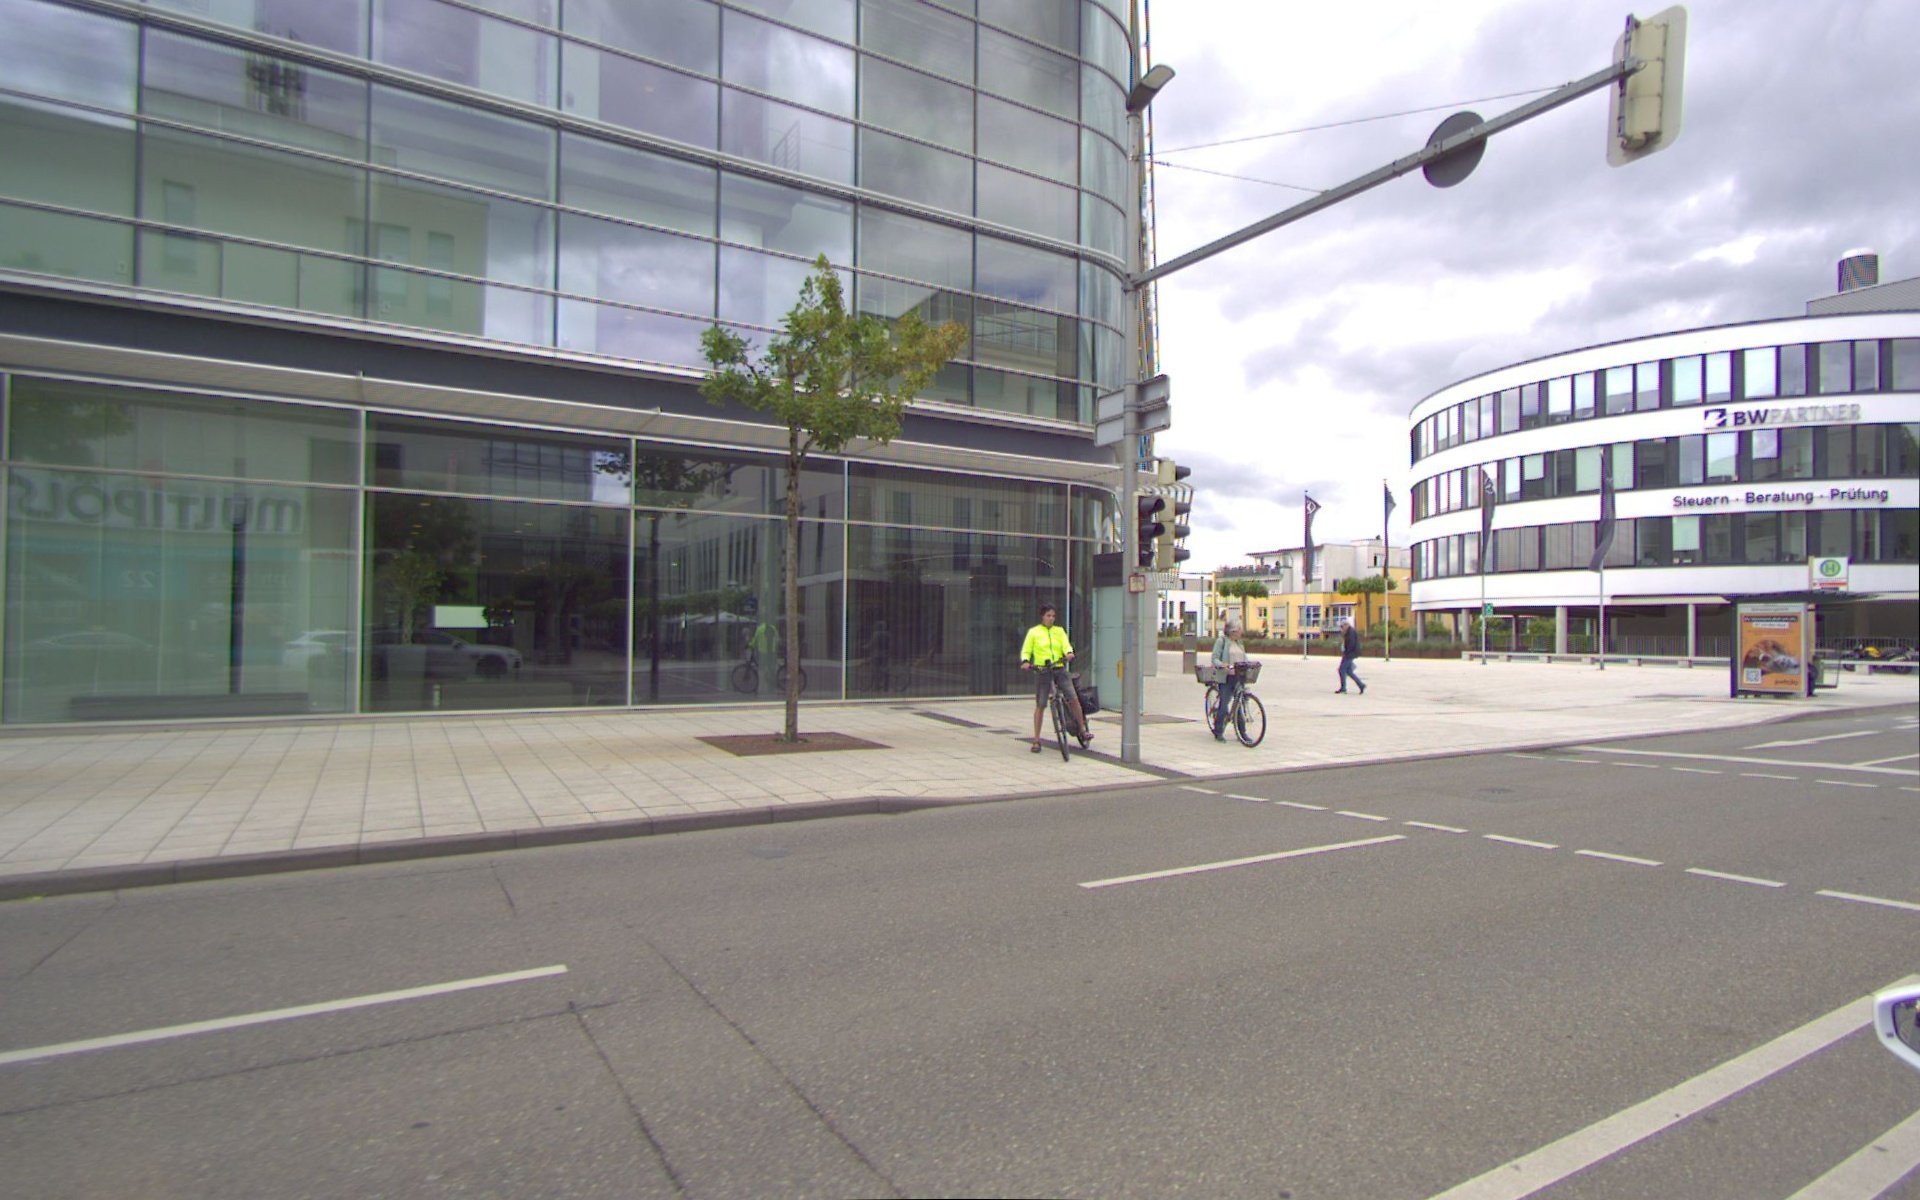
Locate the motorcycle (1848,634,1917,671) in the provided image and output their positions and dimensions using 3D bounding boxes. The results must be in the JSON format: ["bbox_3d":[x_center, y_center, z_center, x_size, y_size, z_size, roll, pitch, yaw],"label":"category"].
[{"bbox_3d":[35.560,2.010,38.747,0.627,1.351,1.848,1,0,-26],"label":"motorcycle"}]

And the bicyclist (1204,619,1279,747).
[{"bbox_3d":[3.838,1.114,13.725,0.628,1.671,0.782,1,1,-15],"label":"bicyclist"}]

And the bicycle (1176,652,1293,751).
[{"bbox_3d":[3.768,1.360,13.980,0.627,1.145,2.000,1,1,-15],"label":"bicycle"}]

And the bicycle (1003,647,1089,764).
[{"bbox_3d":[1.116,1.263,12.596,0.732,1.222,2.032,2,1,14],"label":"bicycle"}]

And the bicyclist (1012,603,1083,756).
[{"bbox_3d":[1.108,0.958,12.596,0.732,1.824,0.774,2,1,14],"label":"bicyclist"}]

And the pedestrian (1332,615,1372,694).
[{"bbox_3d":[9.986,1.373,25.599,0.885,1.971,0.750,1,0,21],"label":"pedestrian"}]

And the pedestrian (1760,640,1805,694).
[{"bbox_3d":[19.603,1.587,23.946,0.570,1.270,0.681,1,-2,-32],"label":"pedestrian"}]

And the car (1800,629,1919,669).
[{"bbox_3d":[38.214,2.013,41.948,1.876,1.434,4.445,1,0,-23],"label":"car"}]

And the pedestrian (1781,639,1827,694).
[{"bbox_3d":[20.691,1.623,24.624,0.570,1.337,0.681,1,-3,-32],"label":"pedestrian"}]

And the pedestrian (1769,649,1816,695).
[{"bbox_3d":[20.122,1.732,24.280,0.570,1.089,0.681,1,-4,-32],"label":"pedestrian"}]
